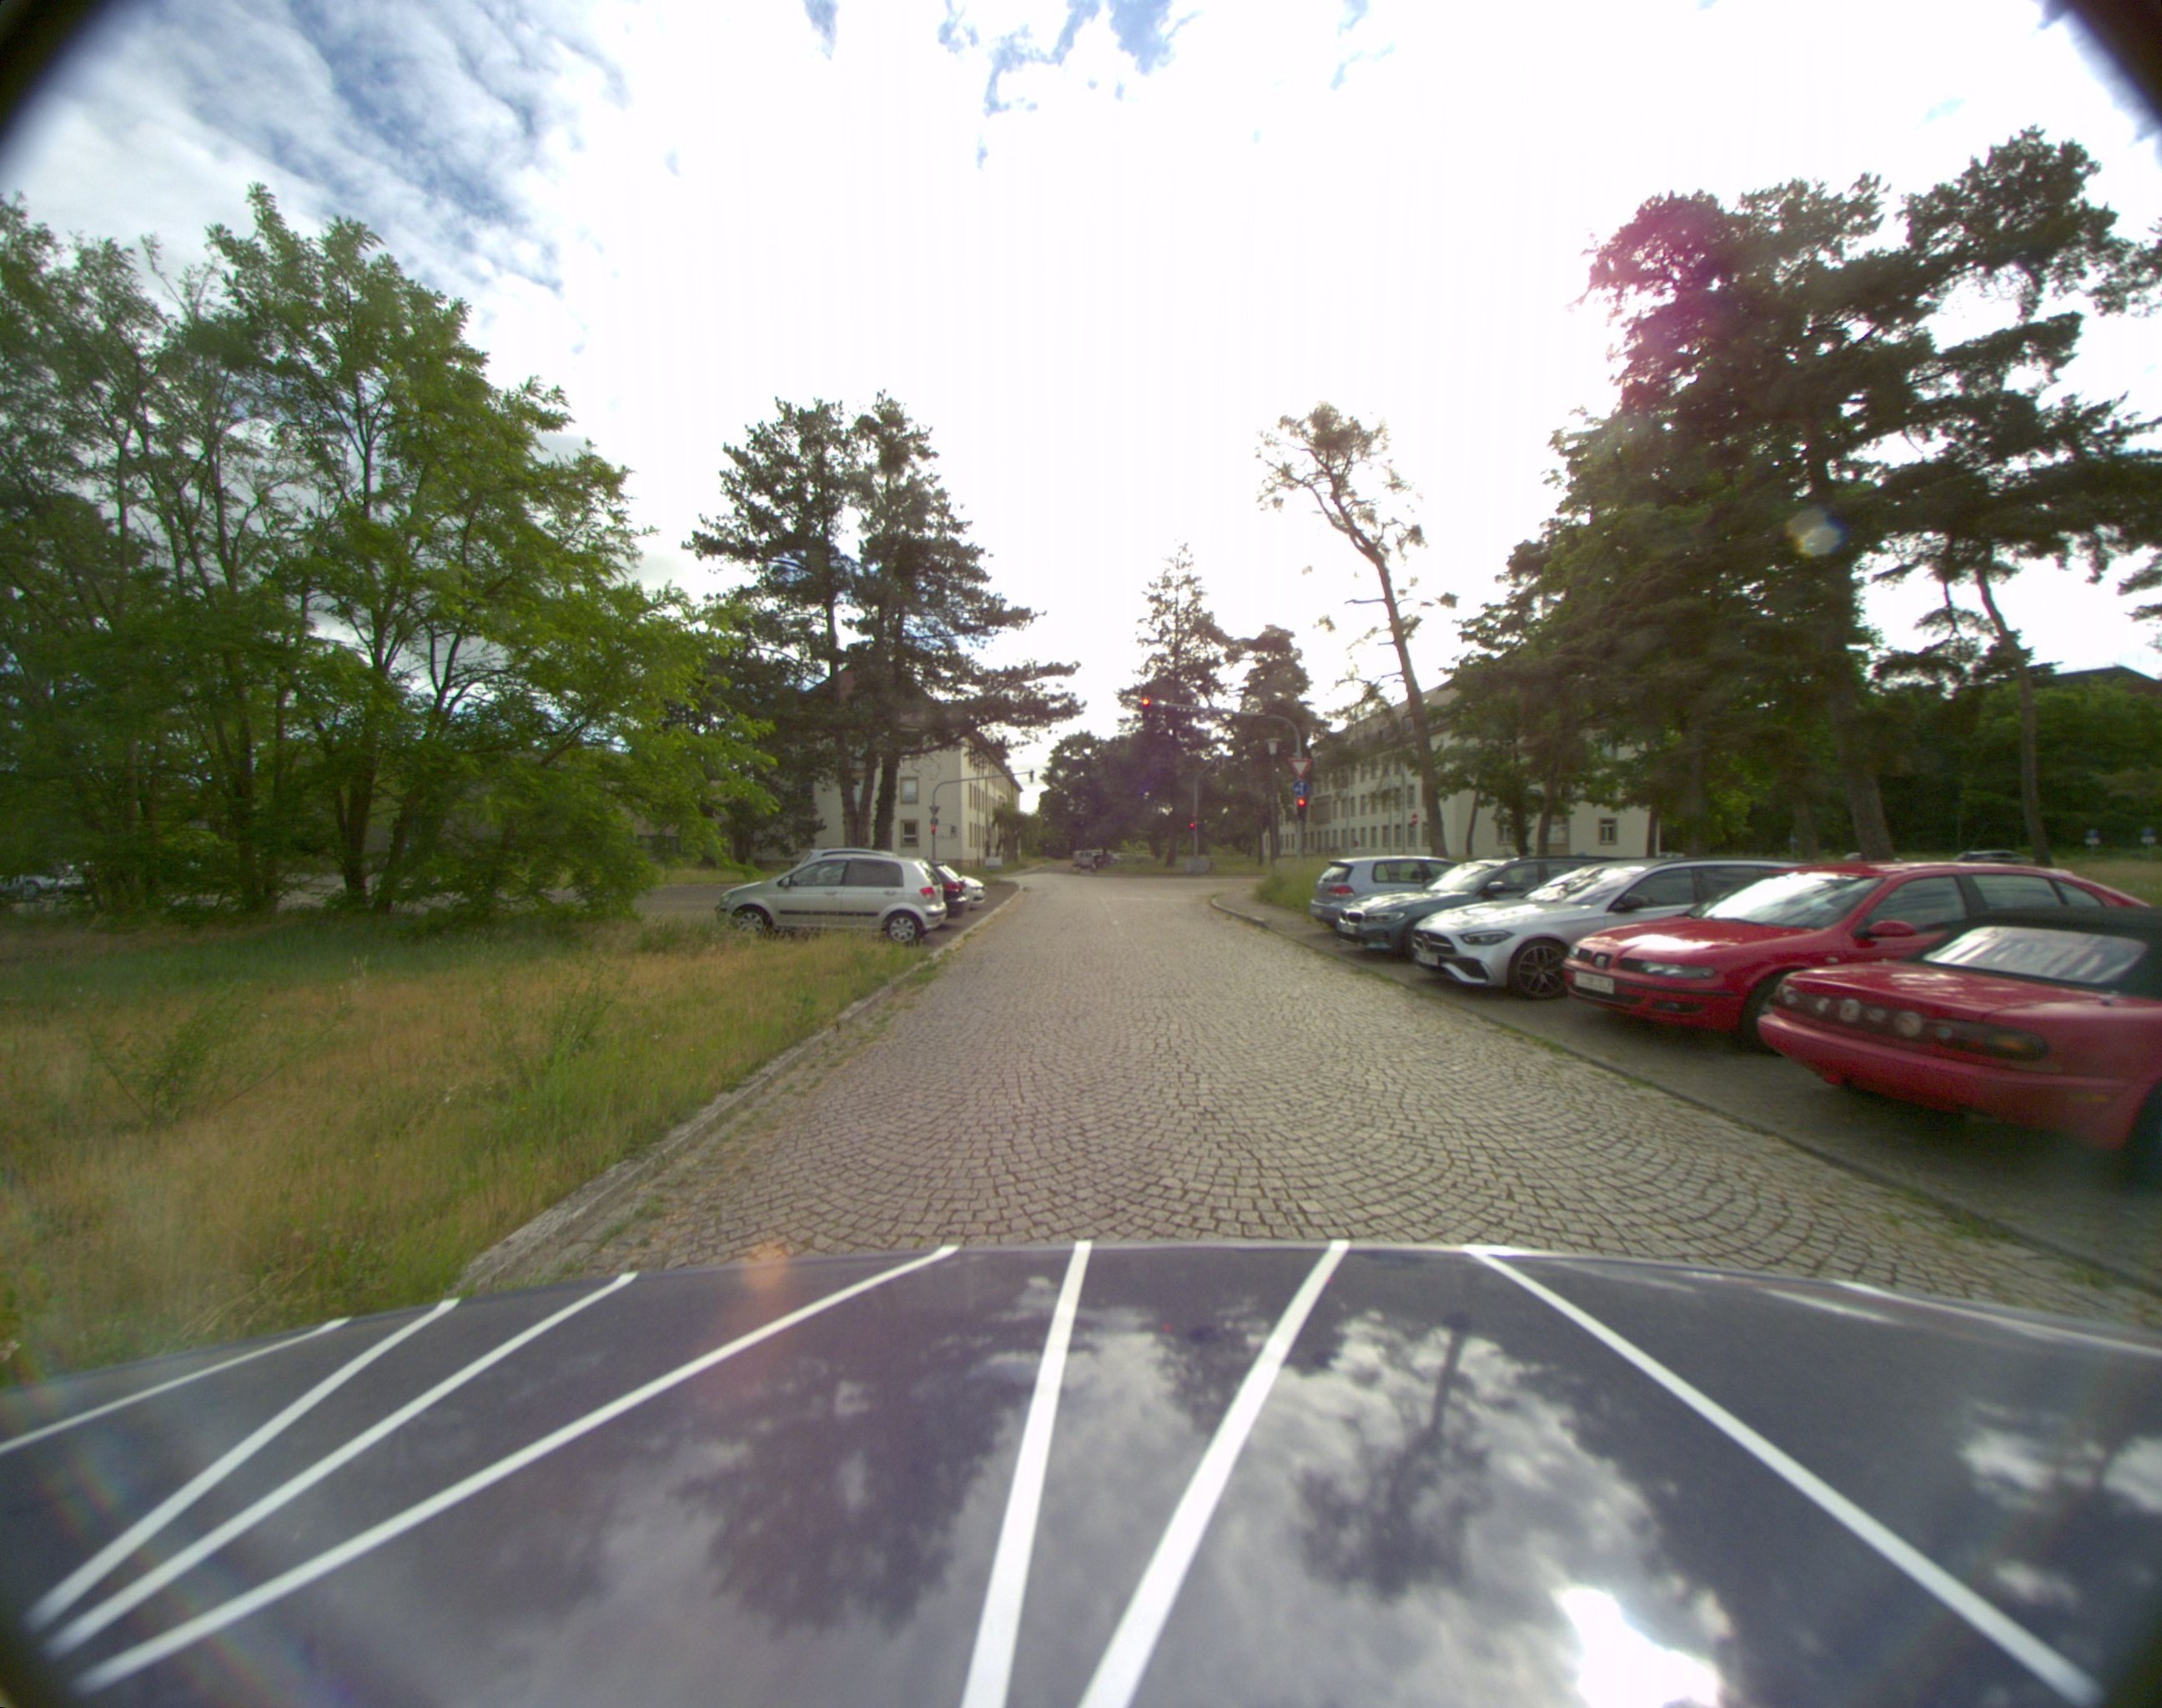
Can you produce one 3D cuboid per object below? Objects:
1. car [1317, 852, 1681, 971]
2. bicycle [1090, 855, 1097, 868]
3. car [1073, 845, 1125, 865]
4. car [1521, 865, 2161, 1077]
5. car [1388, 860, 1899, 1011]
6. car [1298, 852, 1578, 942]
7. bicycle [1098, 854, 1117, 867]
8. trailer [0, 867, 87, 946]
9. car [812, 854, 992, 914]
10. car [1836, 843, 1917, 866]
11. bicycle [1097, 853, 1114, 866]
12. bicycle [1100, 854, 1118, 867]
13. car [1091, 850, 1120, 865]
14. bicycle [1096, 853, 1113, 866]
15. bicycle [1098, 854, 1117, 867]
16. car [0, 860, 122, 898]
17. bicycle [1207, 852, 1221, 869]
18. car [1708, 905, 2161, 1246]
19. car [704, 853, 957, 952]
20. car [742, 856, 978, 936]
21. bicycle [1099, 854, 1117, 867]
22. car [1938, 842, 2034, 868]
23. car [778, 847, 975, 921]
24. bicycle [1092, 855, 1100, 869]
[{"bbox_3d":[6.122,0.787,11.476,4.514,1.528,1.869,-1,1,-3],"label":"car"},{"bbox_3d":[1.000,0.607,61.444,0.497,1.033,1.416,-3,1,-1],"label":"bicycle"},{"bbox_3d":[1.909,0.115,80.946,5.173,1.906,2.033,-3,1,-14],"label":"car"},{"bbox_3d":[6.423,0.873,6.485,4.265,1.447,1.855,-1,0,0],"label":"car"},{"bbox_3d":[6.173,0.849,8.792,4.448,1.447,1.949,-1,1,0],"label":"car"},{"bbox_3d":[6.455,0.746,14.104,4.340,1.462,1.827,-1,1,1],"label":"car"},{"bbox_3d":[2.178,0.549,62.845,1.457,1.033,0.497,-3,1,-8],"label":"bicycle"},{"bbox_3d":[-17.557,0.832,11.916,2.319,1.163,1.143,-1,1,-2],"label":"trailer"},{"bbox_3d":[-4.862,0.796,21.145,4.562,1.417,1.826,2,1,-3],"label":"car"},{"bbox_3d":[59.173,0.009,56.584,4.053,1.601,1.716,-1,2,3],"label":"car"},{"bbox_3d":[2.221,0.506,69.083,1.457,1.033,0.497,-3,1,-5],"label":"bicycle"},{"bbox_3d":[2.354,0.549,64.677,1.457,1.033,0.497,-3,1,-5],"label":"bicycle"},{"bbox_3d":[2.507,0.363,77.617,2.771,1.407,1.592,-3,1,-1],"label":"car"},{"bbox_3d":[2.162,0.506,69.557,1.457,1.033,0.497,-3,1,-5],"label":"bicycle"},{"bbox_3d":[2.234,0.554,63.642,1.457,1.033,0.497,-3,1,-5],"label":"bicycle"},{"bbox_3d":[-42.292,1.004,30.807,4.150,1.465,1.864,0,0,-5],"label":"car"},{"bbox_3d":[8.849,0.418,50.587,0.497,1.068,1.416,-3,1,-3],"label":"bicycle"},{"bbox_3d":[6.181,0.988,4.103,4.142,1.276,1.763,-1,0,0],"label":"car"},{"bbox_3d":[-4.188,0.803,13.183,3.782,1.471,1.742,2,0,-3],"label":"car"},{"bbox_3d":[-4.475,0.839,15.883,4.378,1.397,1.796,2,0,-2],"label":"car"},{"bbox_3d":[2.321,0.536,65.262,1.457,1.033,0.497,-3,1,-5],"label":"bicycle"},{"bbox_3d":[58.515,0.058,49.175,4.054,1.601,1.716,-1,2,2],"label":"car"},{"bbox_3d":[-4.857,0.709,18.566,4.342,1.565,1.826,2,1,-5],"label":"car"},{"bbox_3d":[1.200,0.622,59.842,0.497,1.068,1.416,-3,1,-1],"label":"bicycle"}]
